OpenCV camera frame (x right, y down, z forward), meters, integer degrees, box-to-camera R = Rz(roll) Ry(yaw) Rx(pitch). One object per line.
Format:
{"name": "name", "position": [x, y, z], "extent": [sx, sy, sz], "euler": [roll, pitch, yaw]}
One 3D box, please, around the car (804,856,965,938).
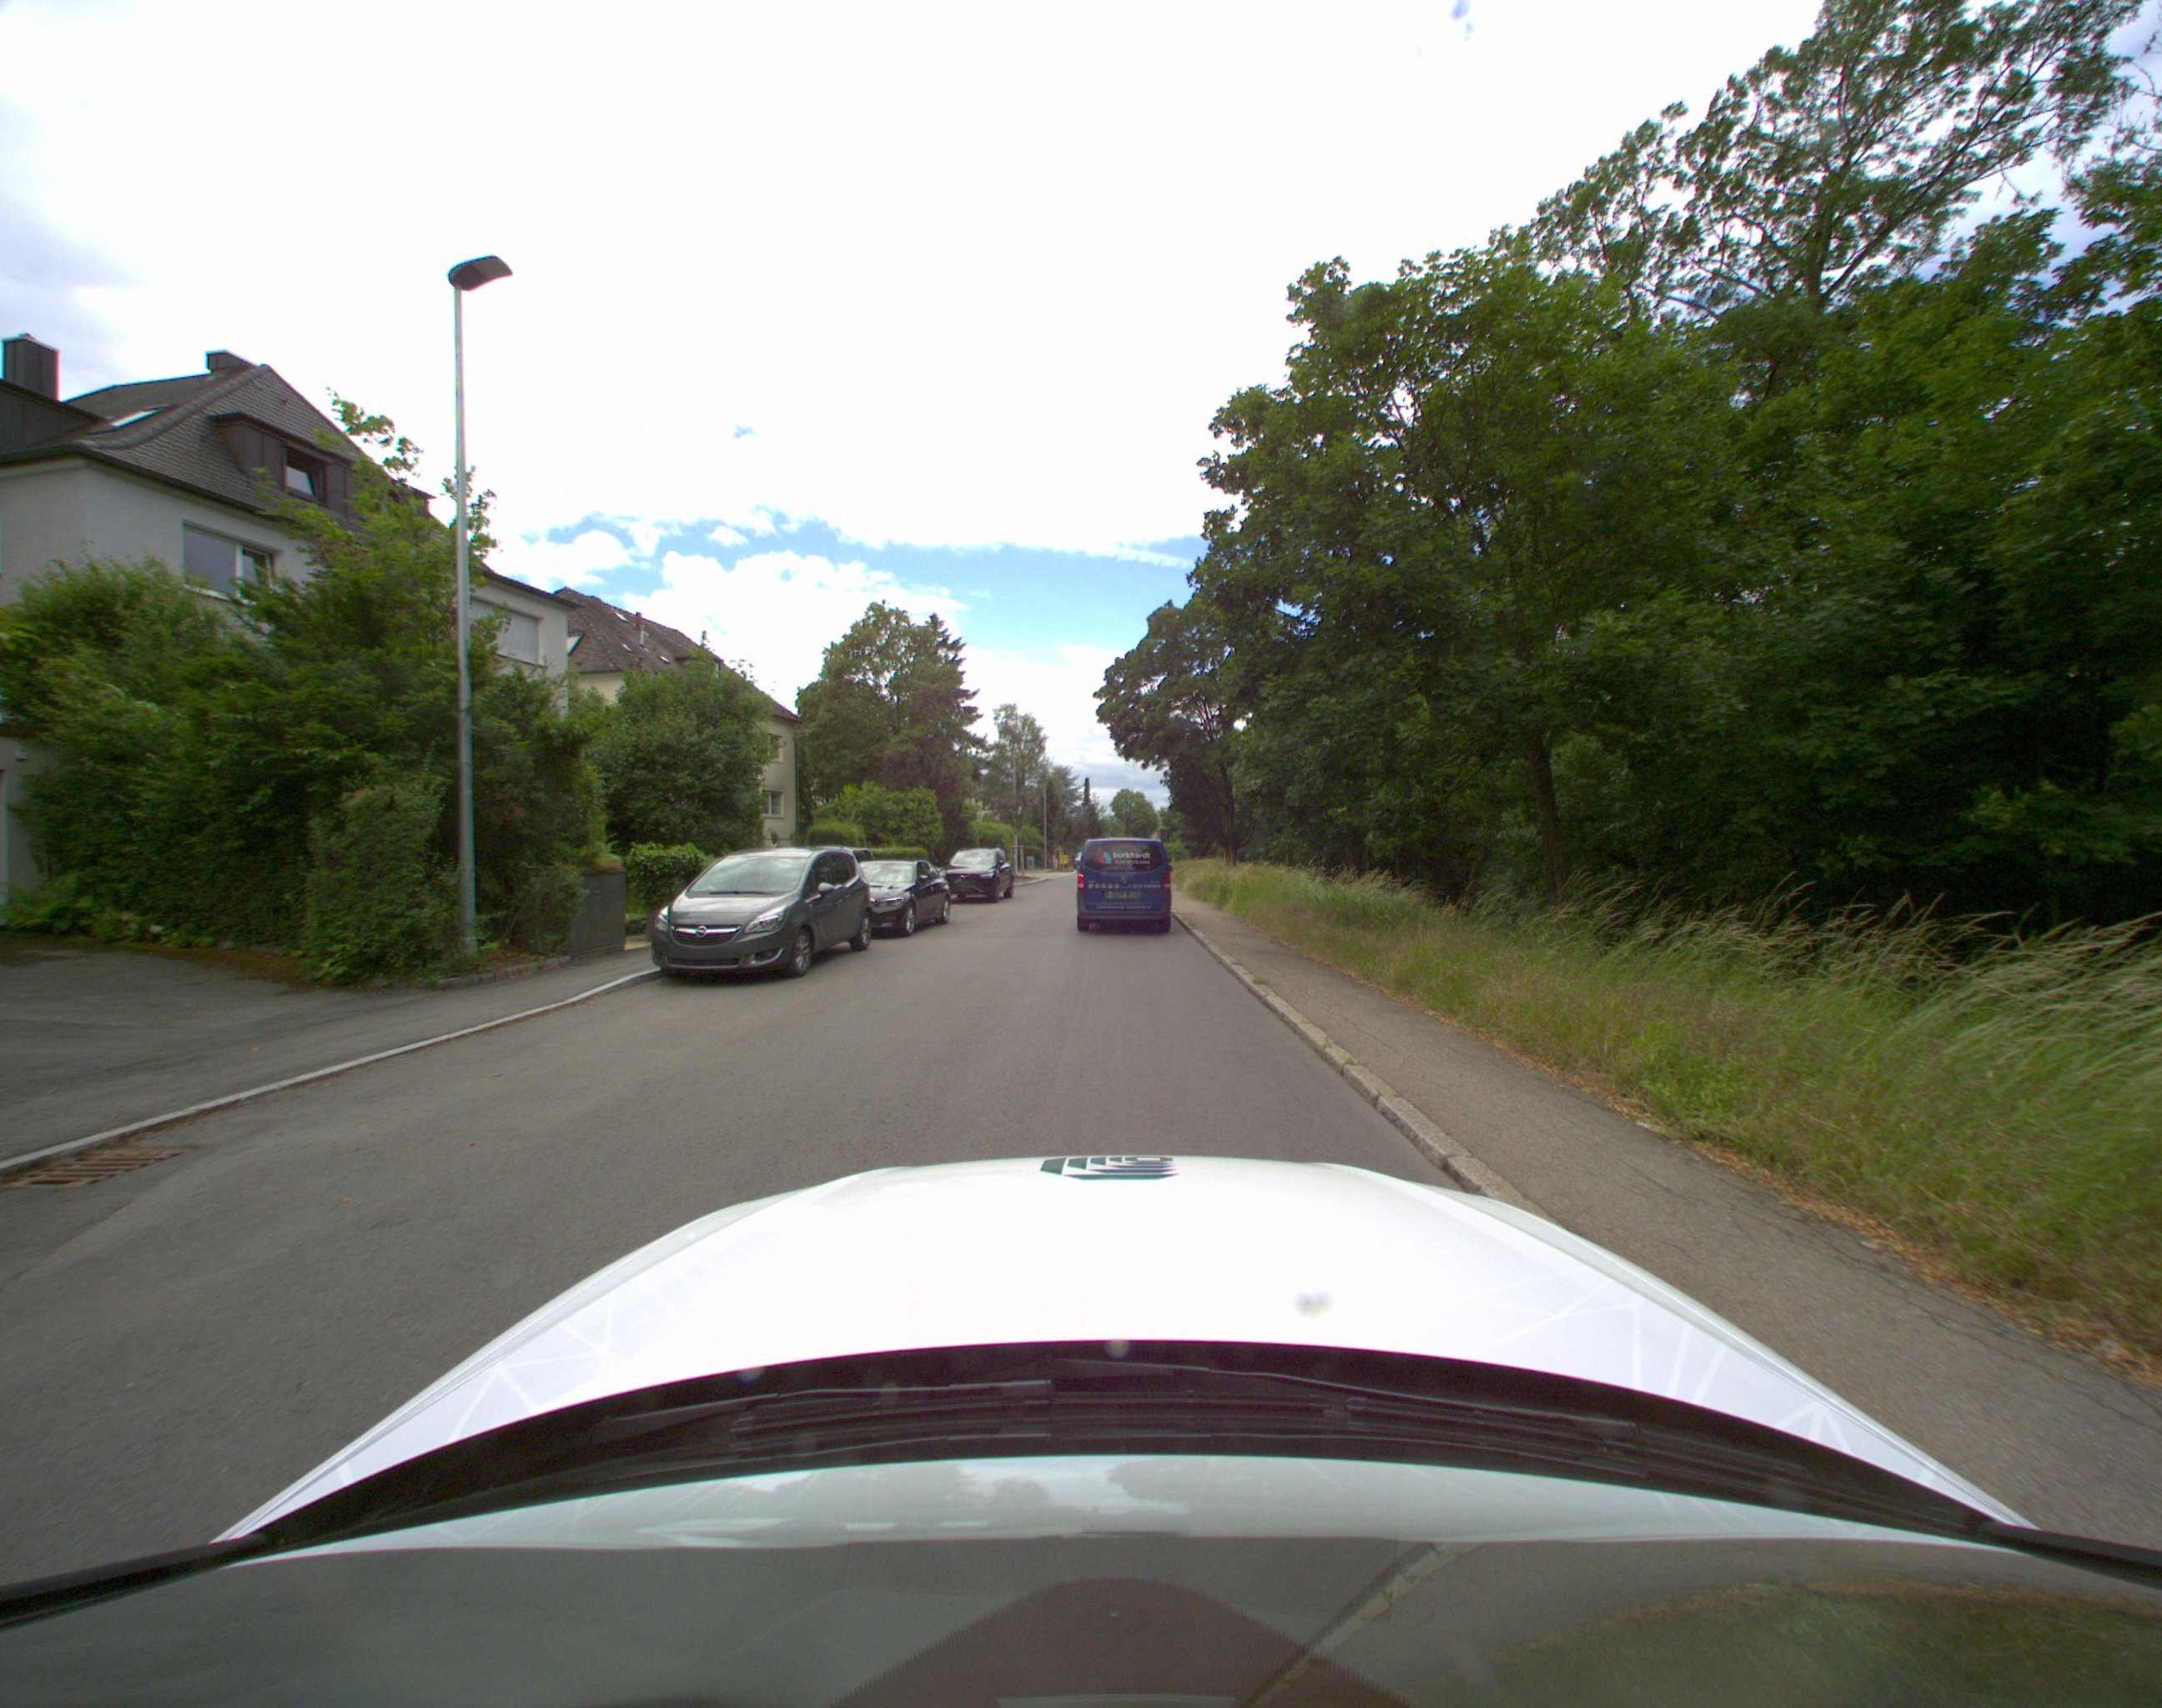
{"name": "car", "position": [-3.809, 0.758, 16.752], "extent": [1.746, 1.412, 4.904], "euler": [0, 0, 5]}

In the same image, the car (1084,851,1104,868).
{"name": "car", "position": [1.476, 0.594, 91.544], "extent": [1.823, 1.751, 4.006], "euler": [1, 0, 5]}

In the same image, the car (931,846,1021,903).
{"name": "car", "position": [-3.400, 0.627, 27.475], "extent": [1.965, 1.737, 5.196], "euler": [0, 0, 5]}

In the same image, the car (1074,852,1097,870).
{"name": "car", "position": [0.429, 0.659, 78.667], "extent": [1.827, 1.631, 4.307], "euler": [1, 0, 5]}

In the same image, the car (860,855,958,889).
{"name": "car", "position": [-7.459, 0.772, 35.480], "extent": [3.804, 1.385, 1.781], "euler": [0, 1, 5]}

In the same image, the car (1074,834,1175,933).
{"name": "car", "position": [0.838, 0.504, 17.276], "extent": [1.882, 1.844, 4.000], "euler": [-1, 1, 0]}

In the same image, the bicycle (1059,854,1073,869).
{"name": "bicycle", "position": [-1.400, 0.691, 75.853], "extent": [0.901, 1.252, 2.920], "euler": [2, 0, 5]}

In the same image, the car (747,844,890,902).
{"name": "car", "position": [-7.926, 0.540, 24.717], "extent": [3.665, 1.637, 1.835], "euler": [0, 0, 15]}

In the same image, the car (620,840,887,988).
{"name": "car", "position": [-4.177, 0.662, 11.307], "extent": [1.725, 1.632, 4.570], "euler": [0, 0, 2]}
